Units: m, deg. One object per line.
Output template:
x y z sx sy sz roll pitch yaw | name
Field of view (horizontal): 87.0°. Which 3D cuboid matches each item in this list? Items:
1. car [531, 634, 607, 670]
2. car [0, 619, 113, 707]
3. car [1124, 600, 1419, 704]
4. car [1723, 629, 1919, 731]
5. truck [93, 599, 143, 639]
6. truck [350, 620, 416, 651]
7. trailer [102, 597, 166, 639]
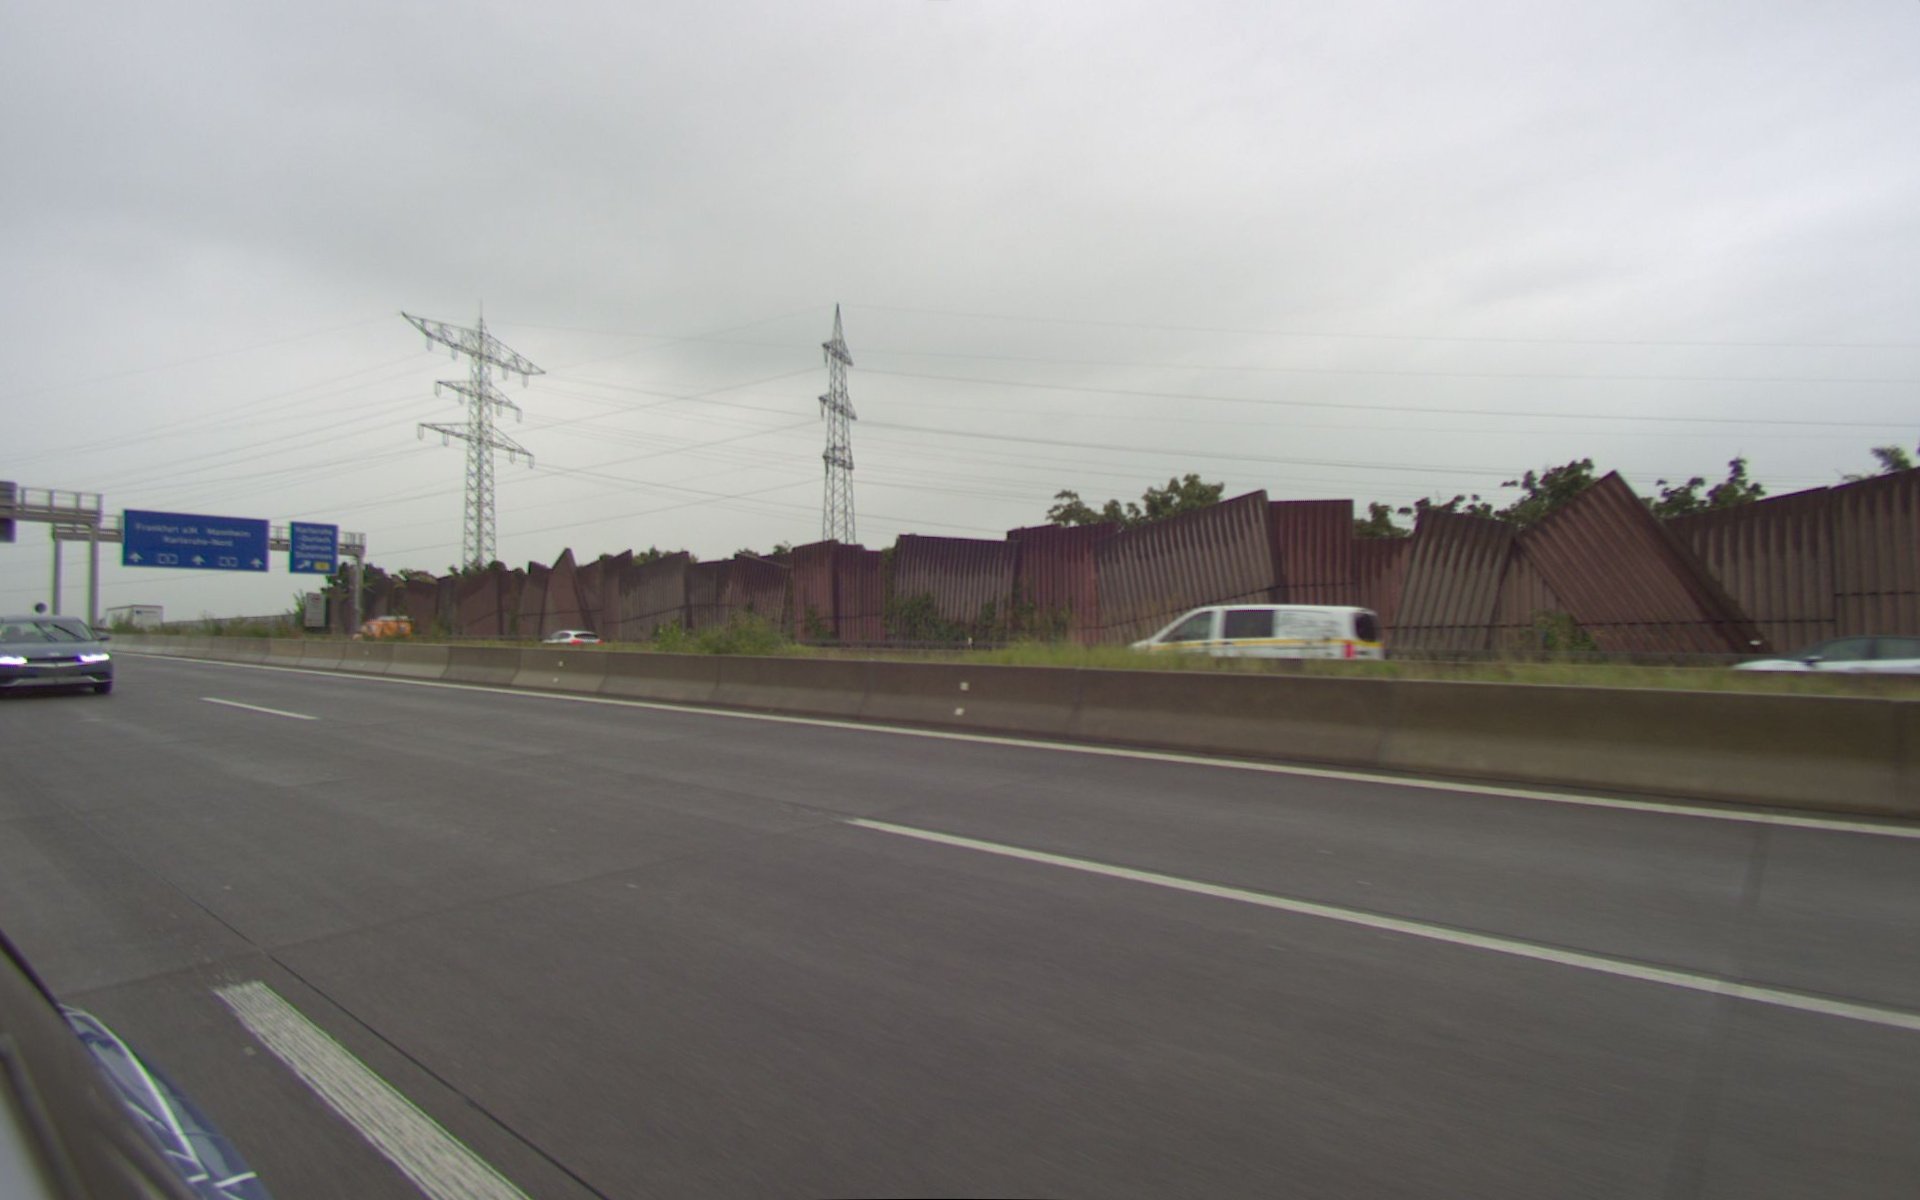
-20.564 2.692 53.167 4.396 1.753 1.972 -2 -2 42 | car
-19.237 1.228 20.931 5.152 1.606 1.820 -1 -1 41 | car
5.997 0.952 19.935 5.206 1.798 1.973 -1 -1 41 | car
17.351 1.469 19.338 4.287 1.798 1.973 -1 -1 41 | car
-94.044 2.128 112.969 7.883 4.218 3.025 -2 -1 41 | truck
-34.527 2.088 60.468 5.015 1.753 1.972 -2 -2 42 | truck
-88.180 1.947 107.905 13.562 4.218 3.025 -2 -1 41 | trailer
